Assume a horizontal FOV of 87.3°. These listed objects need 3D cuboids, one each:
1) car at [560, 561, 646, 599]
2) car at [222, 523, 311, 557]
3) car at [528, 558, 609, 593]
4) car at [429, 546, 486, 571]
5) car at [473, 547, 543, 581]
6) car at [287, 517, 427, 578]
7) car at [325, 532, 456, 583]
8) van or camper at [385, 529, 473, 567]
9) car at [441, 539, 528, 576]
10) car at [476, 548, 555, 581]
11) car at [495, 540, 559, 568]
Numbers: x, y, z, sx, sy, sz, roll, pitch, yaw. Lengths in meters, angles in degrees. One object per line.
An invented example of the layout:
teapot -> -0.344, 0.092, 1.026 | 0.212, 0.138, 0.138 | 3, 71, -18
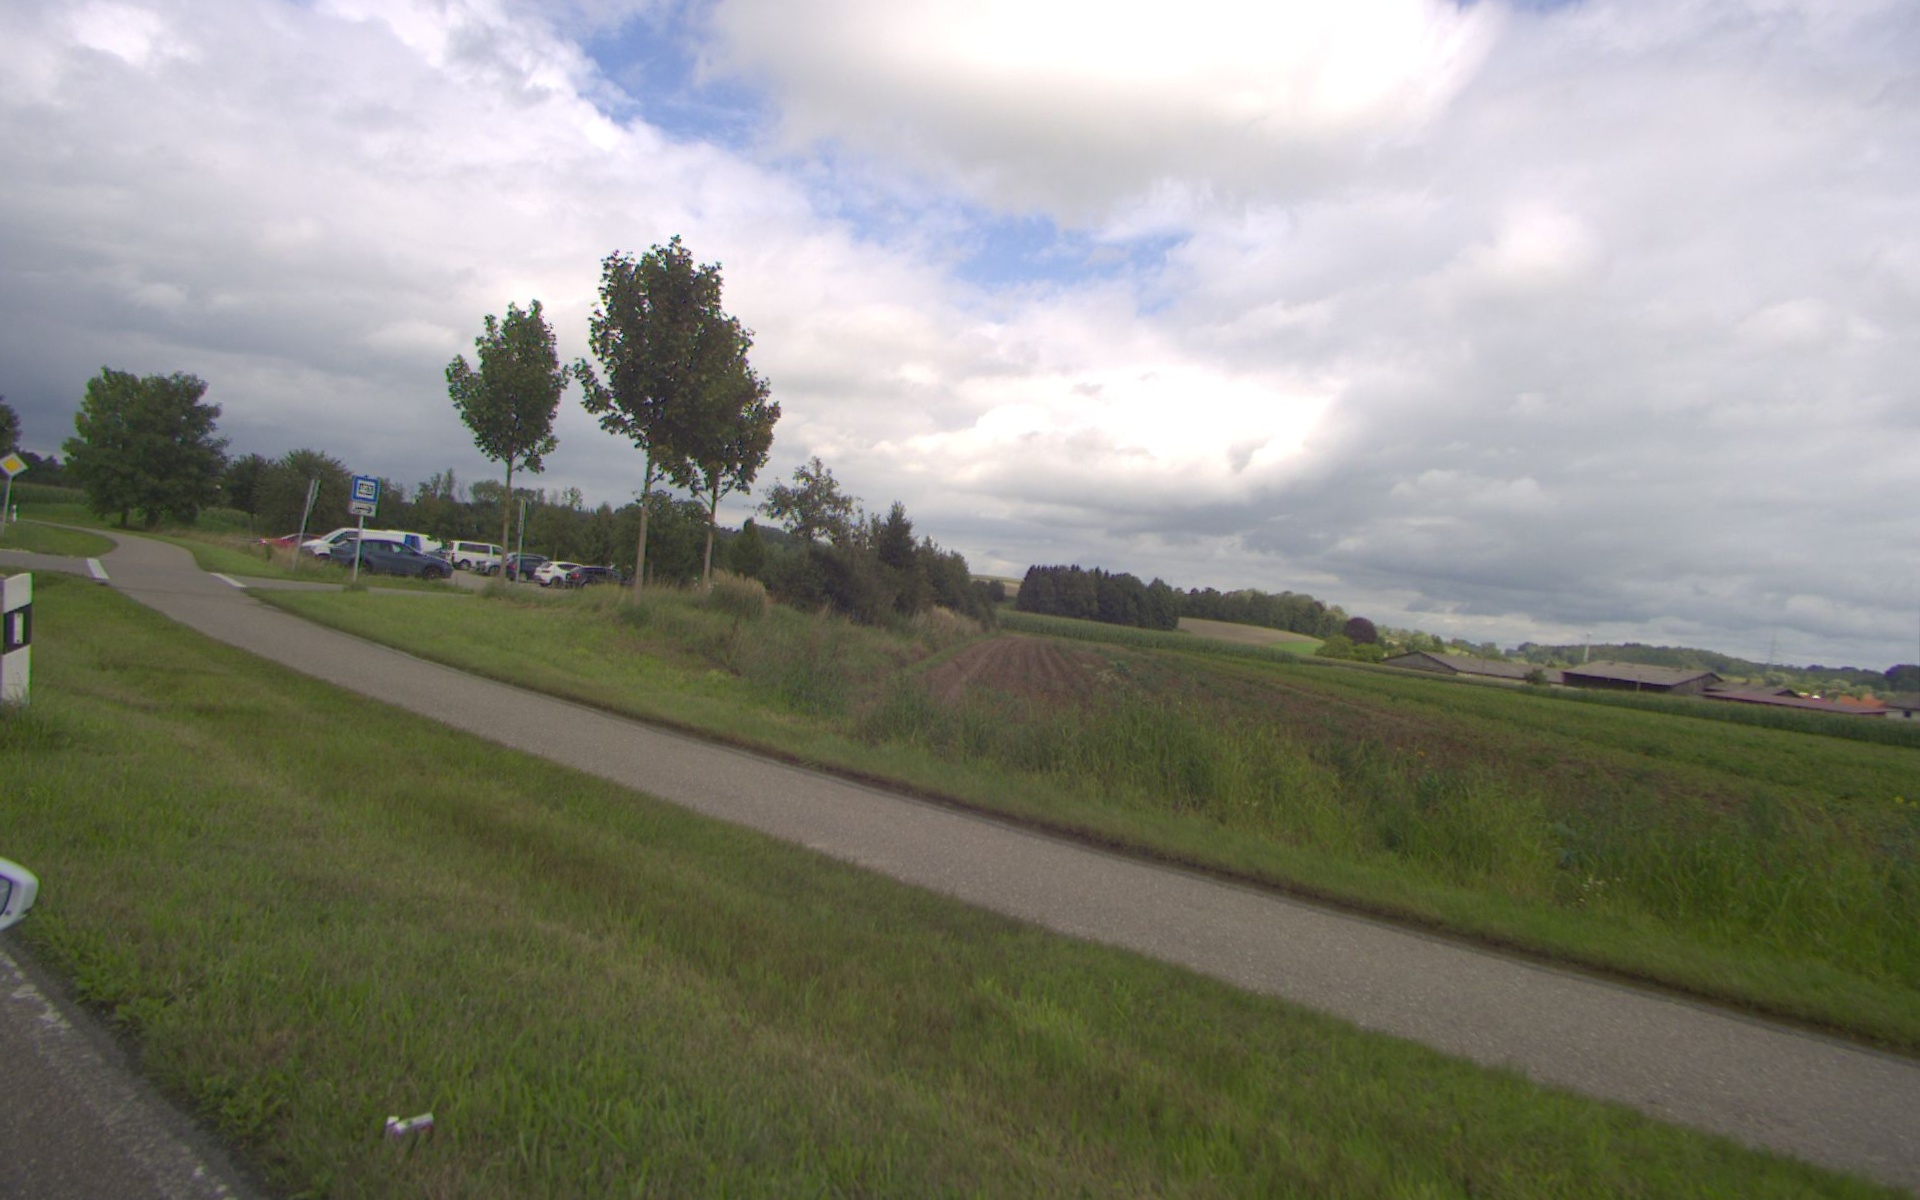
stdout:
car -> -18.064, -1.014, 50.968 | 3.674, 1.408, 1.709 | 7, -1, -42
car -> -43.124, -3.710, 62.589 | 4.312, 1.595, 1.948 | 5, 1, -43
car -> -21.361, -1.316, 54.953 | 1.736, 1.408, 3.680 | 7, -1, 43
car -> -39.331, -3.277, 78.780 | 3.610, 1.457, 1.687 | 7, -1, -40
car -> -28.632, -2.269, 63.861 | 3.641, 1.627, 1.754 | 7, 0, -15
car -> -26.506, -2.271, 44.328 | 4.928, 1.998, 1.932 | 7, -1, -42
car -> -23.063, -1.701, 40.825 | 4.254, 1.586, 1.816 | 5, 1, -42
van or camper -> -48.483, -4.717, 92.026 | 6.710, 2.593, 2.027 | 7, 0, -39
car -> -33.354, -2.992, 70.709 | 5.006, 2.026, 2.205 | 5, 1, -43
car -> -25.379, -2.013, 57.547 | 1.736, 1.408, 3.680 | 7, -1, 43
car -> -33.526, -3.567, 77.901 | 1.972, 1.615, 3.981 | 7, -1, 41
